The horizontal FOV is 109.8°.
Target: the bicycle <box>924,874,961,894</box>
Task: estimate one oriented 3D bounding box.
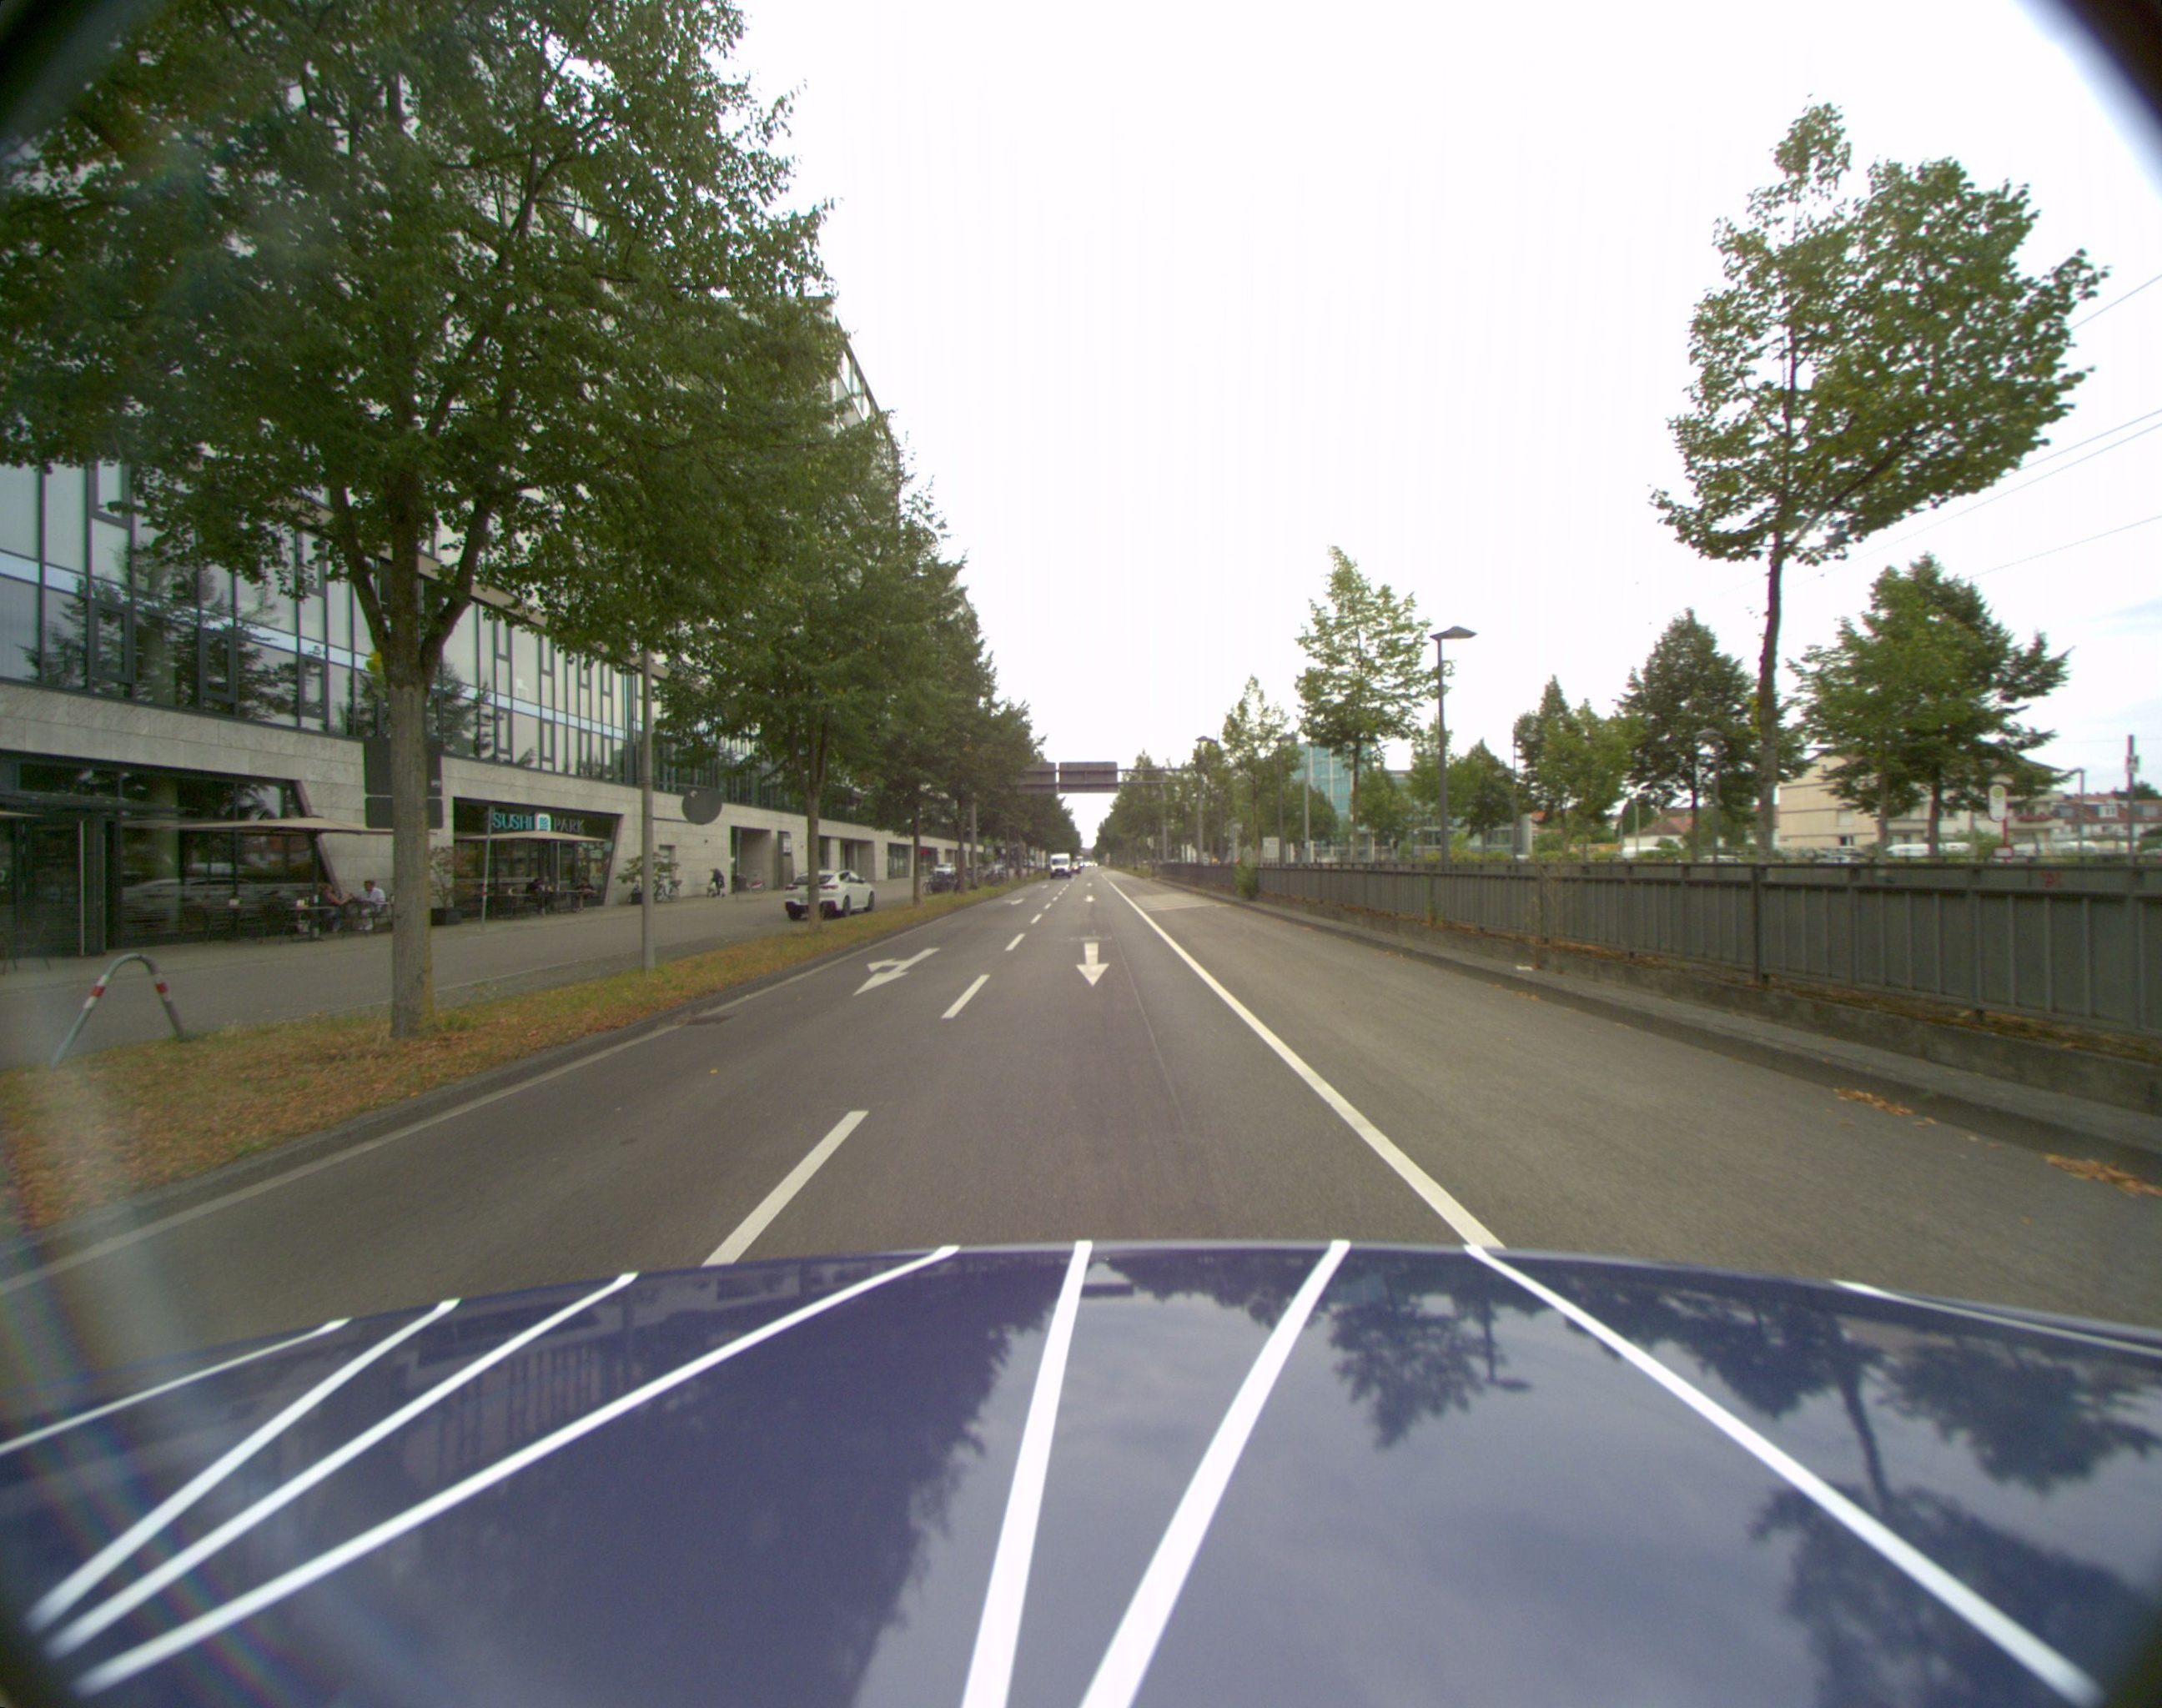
[{"bbox_3d":[-7.625,1.648,41.911,1.865,0.989,0.574,-4,0,-2],"label":"bicycle"}]

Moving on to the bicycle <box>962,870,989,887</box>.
[{"bbox_3d":[-7.383,1.719,53.068,1.778,1.006,0.610,-4,0,-8],"label":"bicycle"}]

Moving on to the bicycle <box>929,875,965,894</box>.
[{"bbox_3d":[-7.621,1.718,43.326,1.865,0.945,0.653,-4,0,-2],"label":"bicycle"}]

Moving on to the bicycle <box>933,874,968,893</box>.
[{"bbox_3d":[-7.579,1.715,44.068,1.865,0.945,0.612,-4,0,-2],"label":"bicycle"}]

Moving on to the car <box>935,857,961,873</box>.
[{"bbox_3d":[-13.972,1.106,79.811,1.862,1.579,4.240,1,0,1],"label":"car"}]

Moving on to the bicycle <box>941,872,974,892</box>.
[{"bbox_3d":[-7.515,1.691,46.250,1.935,1.059,0.543,-4,0,-8],"label":"bicycle"}]

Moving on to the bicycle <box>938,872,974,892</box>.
[{"bbox_3d":[-7.479,1.657,45.519,1.935,1.059,0.641,-4,0,-2],"label":"bicycle"}]

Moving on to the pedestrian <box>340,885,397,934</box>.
[{"bbox_3d":[-18.161,1.399,19.391,0.720,1.185,0.759,-1,0,2],"label":"pedestrian"}]

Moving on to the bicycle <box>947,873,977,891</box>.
[{"bbox_3d":[-7.430,1.731,47.475,1.749,0.968,0.609,-4,0,-8],"label":"bicycle"}]

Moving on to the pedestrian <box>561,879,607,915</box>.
[{"bbox_3d":[-17.267,1.483,26.419,0.773,1.185,1.107,-1,0,16],"label":"pedestrian"}]

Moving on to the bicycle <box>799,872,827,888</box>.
[{"bbox_3d":[-17.121,1.679,48.546,1.602,1.020,0.533,0,0,-2],"label":"bicycle"}]

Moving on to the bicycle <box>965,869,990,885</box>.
[{"bbox_3d":[-7.455,1.658,54.591,1.672,1.084,0.525,-3,0,-2],"label":"bicycle"}]

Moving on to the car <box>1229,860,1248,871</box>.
[{"bbox_3d":[24.750,1.749,119.333,1.832,1.646,4.691,-1,0,-1],"label":"car"}]

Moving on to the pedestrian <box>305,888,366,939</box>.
[{"bbox_3d":[-18.183,1.431,18.540,0.720,1.185,0.759,-1,0,0],"label":"pedestrian"}]

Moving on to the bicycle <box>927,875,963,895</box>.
[{"bbox_3d":[-7.639,1.719,42.578,1.865,0.945,0.501,-4,0,-2],"label":"bicycle"}]

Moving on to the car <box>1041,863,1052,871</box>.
[{"bbox_3d":[-6.815,2.484,148.956,1.954,1.521,4.000,0,0,0],"label":"car"}]

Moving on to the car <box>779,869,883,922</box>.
[{"bbox_3d":[-8.257,1.326,25.586,1.943,1.543,4.594,-1,-1,0],"label":"car"}]

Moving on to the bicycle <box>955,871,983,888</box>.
[{"bbox_3d":[-7.424,1.702,50.432,1.720,0.968,0.609,-4,0,-8],"label":"bicycle"}]

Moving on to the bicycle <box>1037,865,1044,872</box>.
[{"bbox_3d":[-5.413,1.989,102.252,0.634,0.871,2.116,-3,0,2],"label":"bicycle"}]

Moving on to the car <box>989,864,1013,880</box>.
[{"bbox_3d":[-7.560,1.675,72.019,1.765,1.413,4.183,-1,0,1],"label":"car"}]

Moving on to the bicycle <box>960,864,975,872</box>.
[{"bbox_3d":[-17.260,2.072,115.910,2.238,1.170,0.976,-1,0,-7],"label":"bicycle"}]

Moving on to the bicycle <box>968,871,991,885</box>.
[{"bbox_3d":[-7.386,1.723,55.327,1.533,0.947,0.484,-3,0,-2],"label":"bicycle"}]

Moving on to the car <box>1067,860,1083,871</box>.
[{"bbox_3d":[-0.782,1.526,101.958,1.973,1.528,4.140,-1,0,1],"label":"car"}]

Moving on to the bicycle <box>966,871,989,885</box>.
[{"bbox_3d":[-7.636,1.771,56.100,1.533,0.947,0.552,-3,0,-2],"label":"bicycle"}]

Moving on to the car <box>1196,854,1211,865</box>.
[{"bbox_3d":[22.401,0.998,139.186,1.998,1.933,5.096,-1,0,0],"label":"car"}]

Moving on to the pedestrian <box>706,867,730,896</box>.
[{"bbox_3d":[-17.625,1.345,36.929,0.758,1.398,0.721,-1,0,8],"label":"pedestrian"}]

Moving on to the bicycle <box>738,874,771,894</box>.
[{"bbox_3d":[-17.633,1.619,41.028,1.605,1.020,0.609,0,0,-26],"label":"bicycle"}]

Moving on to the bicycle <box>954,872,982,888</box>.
[{"bbox_3d":[-7.396,1.702,49.782,1.749,0.968,0.609,-4,0,-8],"label":"bicycle"}]

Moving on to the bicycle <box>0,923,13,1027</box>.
[{"bbox_3d":[-13.270,1.432,7.983,0.904,1.228,2.268,1,0,0],"label":"bicycle"}]

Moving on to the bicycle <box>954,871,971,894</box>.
[{"bbox_3d":[-6.082,1.450,39.146,0.712,1.109,2.202,-4,0,-7],"label":"bicycle"}]

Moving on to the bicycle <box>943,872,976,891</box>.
[{"bbox_3d":[-7.497,1.691,46.829,1.935,1.059,0.543,-4,0,-8],"label":"bicycle"}]

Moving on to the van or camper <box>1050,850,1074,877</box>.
[{"bbox_3d":[-1.912,0.954,77.358,2.183,2.493,6.339,-2,0,0],"label":"van or camper"}]

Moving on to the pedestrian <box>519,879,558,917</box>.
[{"bbox_3d":[-17.929,1.442,25.101,0.719,1.185,0.760,-1,0,23],"label":"pedestrian"}]

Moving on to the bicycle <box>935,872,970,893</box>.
[{"bbox_3d":[-7.563,1.662,44.760,1.935,1.059,0.705,-4,0,-2],"label":"bicycle"}]
